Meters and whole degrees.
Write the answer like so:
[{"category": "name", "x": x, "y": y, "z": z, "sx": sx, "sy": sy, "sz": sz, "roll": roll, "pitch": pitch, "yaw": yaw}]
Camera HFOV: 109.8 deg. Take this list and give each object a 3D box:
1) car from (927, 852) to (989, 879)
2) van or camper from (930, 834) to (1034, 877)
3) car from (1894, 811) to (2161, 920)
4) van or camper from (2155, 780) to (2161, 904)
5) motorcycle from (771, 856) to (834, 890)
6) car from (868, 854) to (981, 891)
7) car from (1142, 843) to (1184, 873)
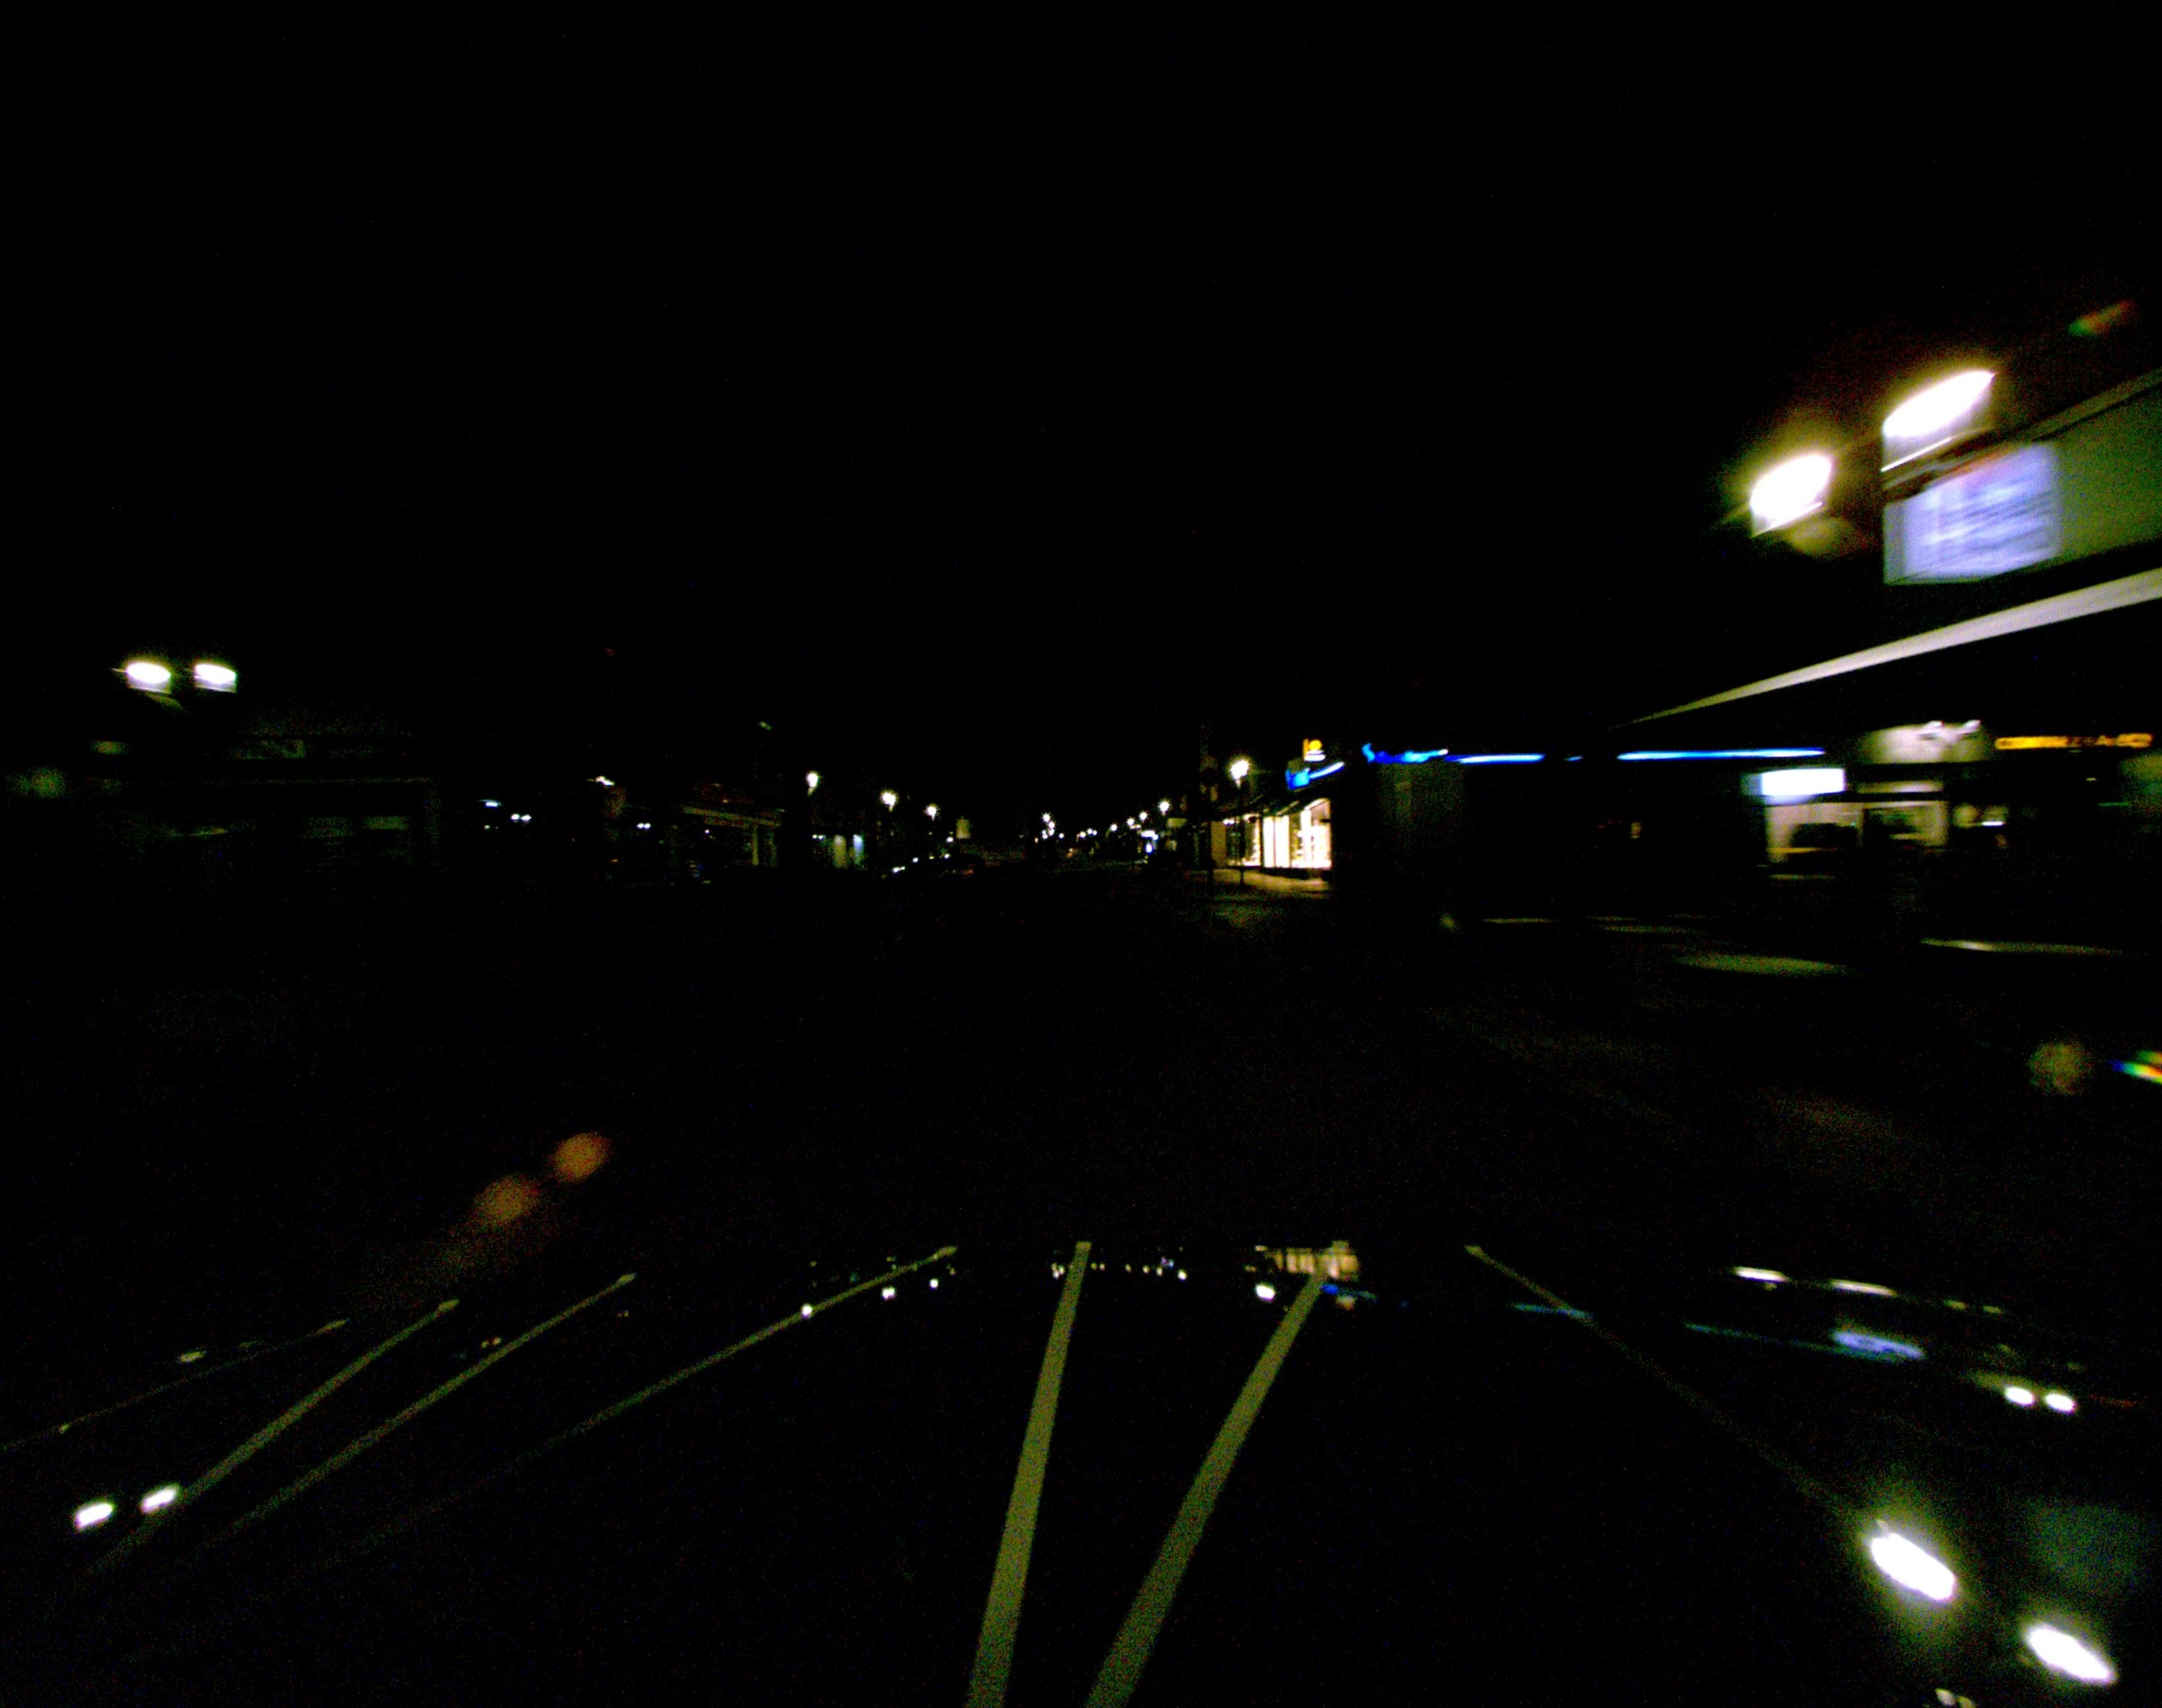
[{"category": "car", "x": -7.173, "y": 0.652, "z": 44.212, "sx": 3.183, "sy": 1.447, "sz": 1.691, "roll": -1, "pitch": 1, "yaw": -27}, {"category": "van or camper", "x": -6.179, "y": 0.041, "z": 47.577, "sx": 6.061, "sy": 2.519, "sz": 2.157, "roll": -1, "pitch": 1, "yaw": -30}, {"category": "car", "x": 15.507, "y": 0.164, "z": 11.930, "sx": 3.610, "sy": 1.511, "sz": 1.799, "roll": -2, "pitch": -1, "yaw": -3}, {"category": "van or camper", "x": 20.618, "y": -0.272, "z": 12.073, "sx": 4.123, "sy": 2.115, "sz": 2.091, "roll": -1, "pitch": -1, "yaw": -1}, {"category": "motorcycle", "x": -10.942, "y": 0.730, "z": 29.914, "sx": 2.226, "sy": 1.263, "sz": 0.531, "roll": -1, "pitch": 1, "yaw": -42}, {"category": "car", "x": -6.857, "y": 0.778, "z": 33.518, "sx": 4.555, "sy": 1.447, "sz": 1.633, "roll": -1, "pitch": 1, "yaw": -34}, {"category": "car", "x": 4.256, "y": 0.193, "z": 39.918, "sx": 1.655, "sy": 1.417, "sz": 4.014, "roll": -4, "pitch": 0, "yaw": 0}]
